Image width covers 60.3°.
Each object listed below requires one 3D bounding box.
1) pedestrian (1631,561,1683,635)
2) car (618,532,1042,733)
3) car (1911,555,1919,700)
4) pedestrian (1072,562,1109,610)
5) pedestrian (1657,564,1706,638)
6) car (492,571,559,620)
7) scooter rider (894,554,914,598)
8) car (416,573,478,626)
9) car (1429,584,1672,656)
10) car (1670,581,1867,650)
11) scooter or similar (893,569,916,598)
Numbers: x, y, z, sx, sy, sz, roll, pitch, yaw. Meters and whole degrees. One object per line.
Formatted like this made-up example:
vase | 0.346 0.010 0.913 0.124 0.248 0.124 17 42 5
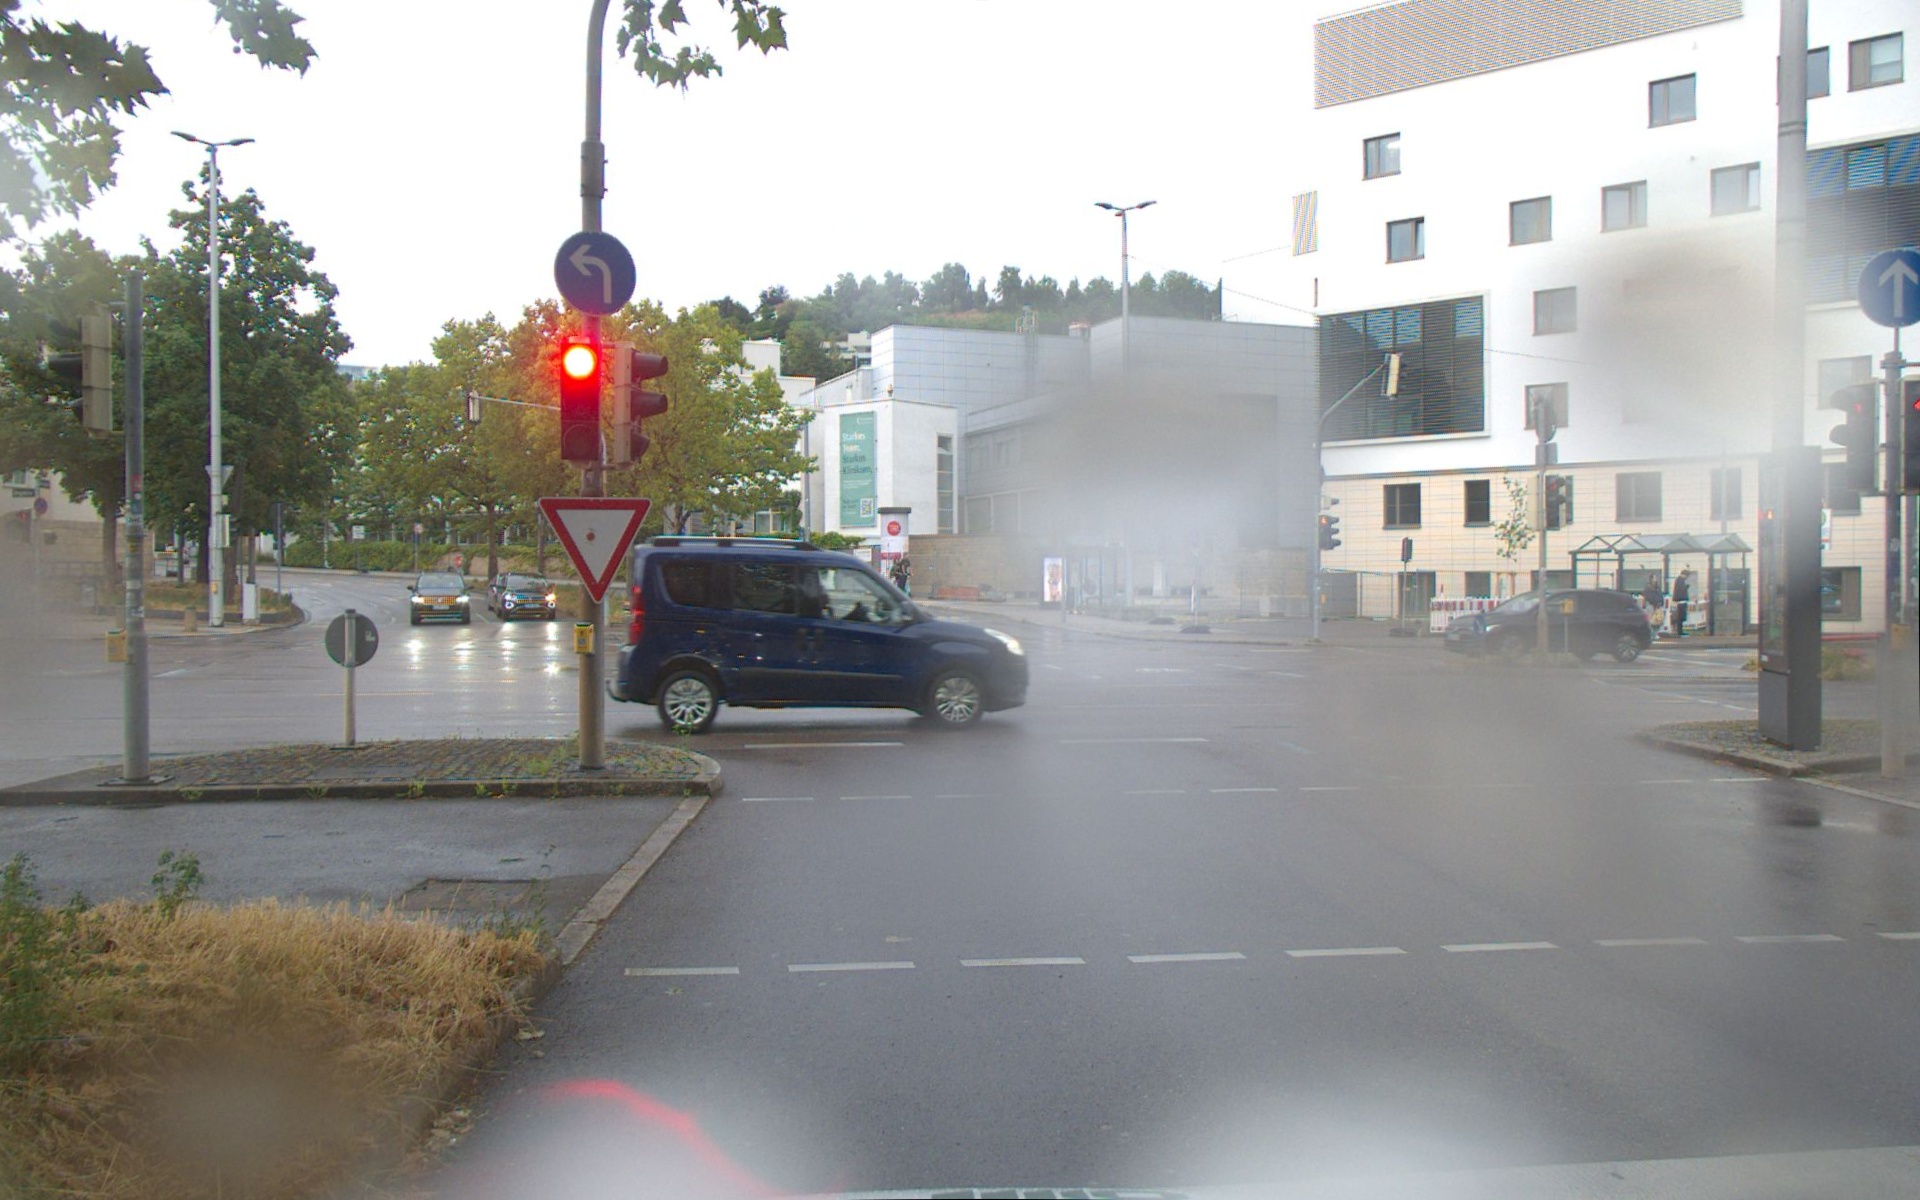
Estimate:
pedestrian | 18.067 -0.044 42.898 0.934 1.872 0.821 2 -1 -12
car | -1.396 0.294 17.299 4.218 1.941 1.793 0 1 -11
car | 14.635 0.334 20.809 4.695 1.840 1.991 -1 1 -17
pedestrian | 4.889 -0.531 62.069 1.232 1.749 1.016 1 -1 -2
pedestrian | 19.566 0.030 44.890 0.980 1.969 0.955 1 -1 9
car | -15.200 -0.190 57.704 1.764 1.612 3.973 0 1 -22
scooter rider | -2.506 -1.063 73.977 0.713 1.916 0.628 2 -1 -21
car | -16.678 -0.047 53.734 1.839 1.591 4.255 -1 2 -18
car | 12.095 0.398 34.026 4.291 1.402 1.997 0 1 -8
car | 18.798 0.345 38.507 3.921 1.469 1.790 2 0 -16
scooter or similar | -2.482 -0.739 74.013 0.582 1.260 1.305 2 -1 -22
